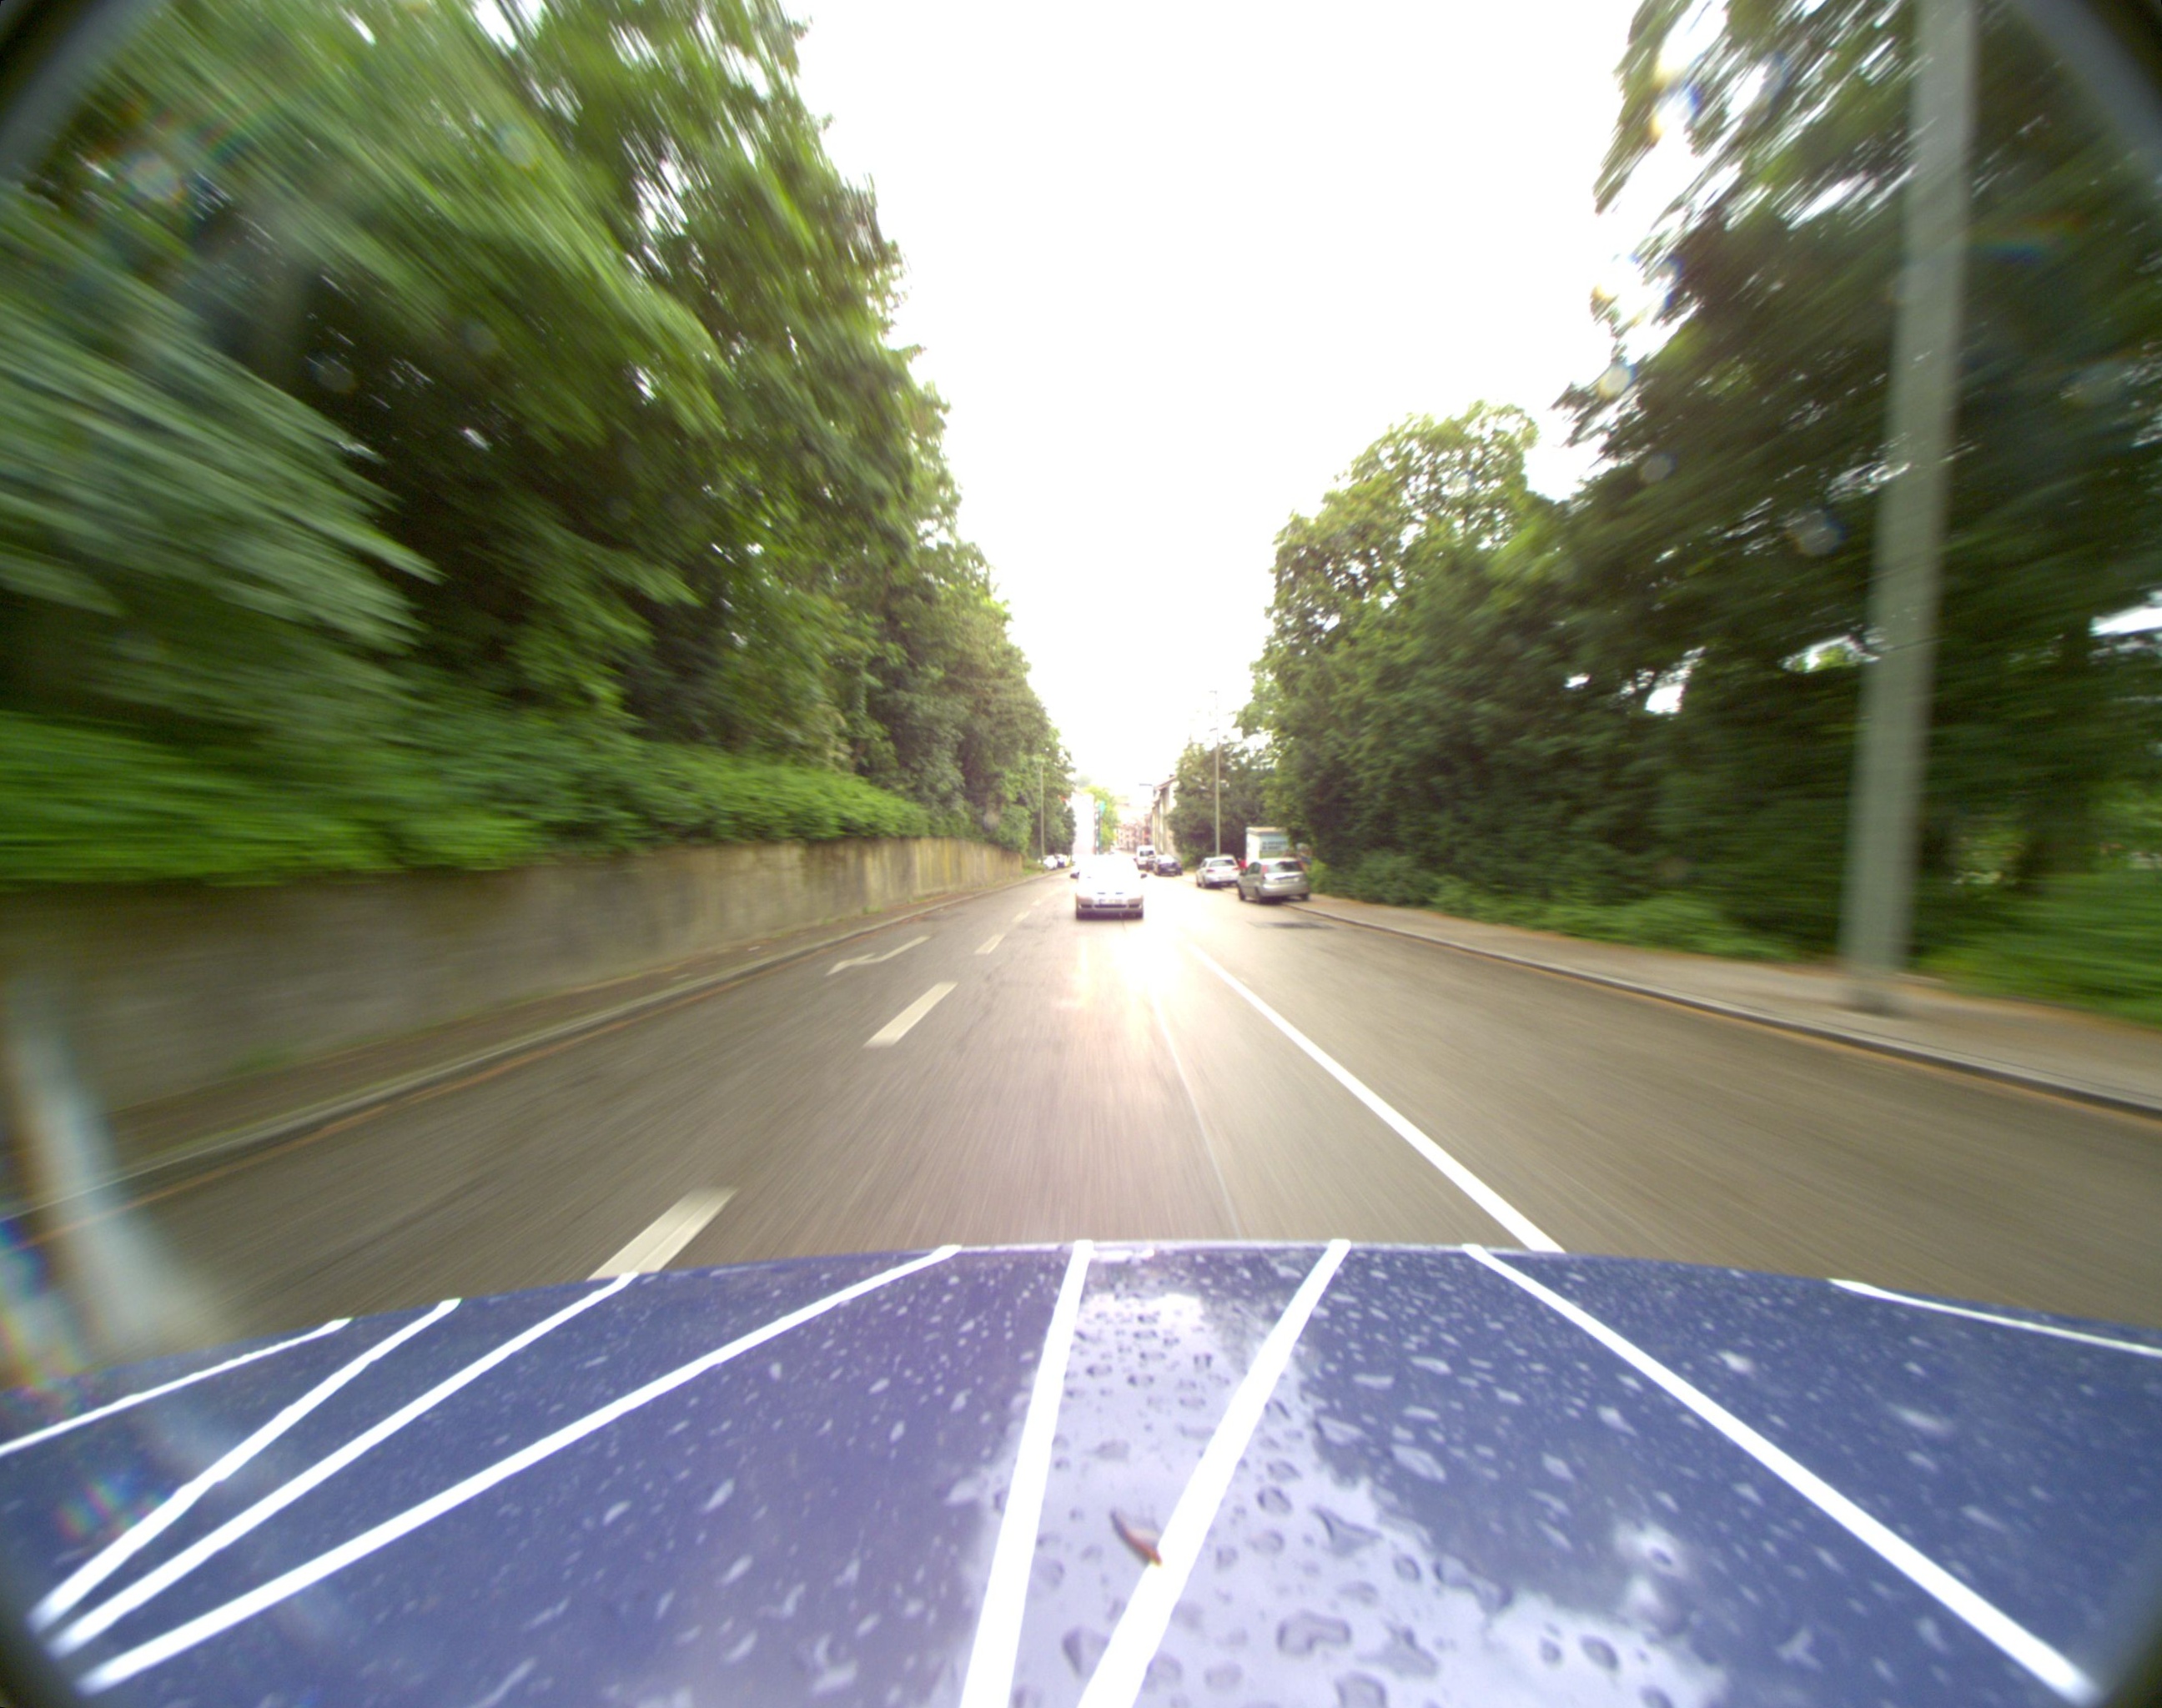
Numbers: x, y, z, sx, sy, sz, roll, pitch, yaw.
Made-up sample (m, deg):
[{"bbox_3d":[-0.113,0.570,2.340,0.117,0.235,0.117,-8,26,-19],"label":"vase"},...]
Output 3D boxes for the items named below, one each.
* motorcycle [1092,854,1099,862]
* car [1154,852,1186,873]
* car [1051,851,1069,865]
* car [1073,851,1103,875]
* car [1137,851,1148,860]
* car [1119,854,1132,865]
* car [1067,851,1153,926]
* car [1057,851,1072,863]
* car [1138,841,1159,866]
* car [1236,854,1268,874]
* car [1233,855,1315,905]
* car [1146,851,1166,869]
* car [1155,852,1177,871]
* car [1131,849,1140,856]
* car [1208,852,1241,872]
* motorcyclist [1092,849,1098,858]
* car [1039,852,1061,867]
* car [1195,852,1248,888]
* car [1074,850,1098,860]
[{"bbox_3d":[1.964,0.545,104.009,0.778,1.120,2.300,-2,1,6],"label":"motorcycle"},{"bbox_3d":[6.787,0.625,58.228,1.864,1.485,4.755,2,0,0],"label":"car"},{"bbox_3d":[-2.475,0.464,90.048,1.769,1.614,4.679,0,1,2],"label":"car"},{"bbox_3d":[0.549,0.614,55.086,1.998,1.603,3.967,-1,0,3],"label":"car"},{"bbox_3d":[11.060,0.266,136.316,1.908,1.647,4.329,1,0,3],"label":"car"},{"bbox_3d":[6.473,0.745,110.375,1.765,1.482,4.001,-2,0,4],"label":"car"},{"bbox_3d":[0.840,0.776,19.092,1.825,1.603,4.190,-2,0,6],"label":"car"},{"bbox_3d":[-2.108,0.420,97.763,1.567,1.458,3.899,2,1,4],"label":"car"},{"bbox_3d":[7.279,-0.044,82.340,2.122,2.536,5.445,1,0,3],"label":"car"},{"bbox_3d":[12.930,0.716,57.555,1.625,1.450,3.775,-1,0,1],"label":"car"},{"bbox_3d":[6.454,0.811,25.866,1.630,1.490,3.927,-3,0,-2],"label":"car"},{"bbox_3d":[6.992,0.551,70.893,1.648,1.595,4.186,2,1,4],"label":"car"},{"bbox_3d":[7.258,0.590,65.047,1.659,1.560,4.149,0,0,4],"label":"car"},{"bbox_3d":[12.205,-0.326,169.137,1.908,1.647,4.329,1,0,3],"label":"car"},{"bbox_3d":[10.870,0.556,57.870,1.727,1.450,4.396,-1,0,1],"label":"car"},{"bbox_3d":[1.940,-0.084,104.102,0.778,1.120,0.549,-2,1,6],"label":"motorcyclist"},{"bbox_3d":[-3.225,0.577,79.361,1.742,1.469,4.741,1,0,4],"label":"car"},{"bbox_3d":[6.859,0.738,37.574,1.891,1.602,4.239,1,0,1],"label":"car"},{"bbox_3d":[0.896,0.099,135.164,4.192,1.565,1.804,2,1,3],"label":"car"}]
